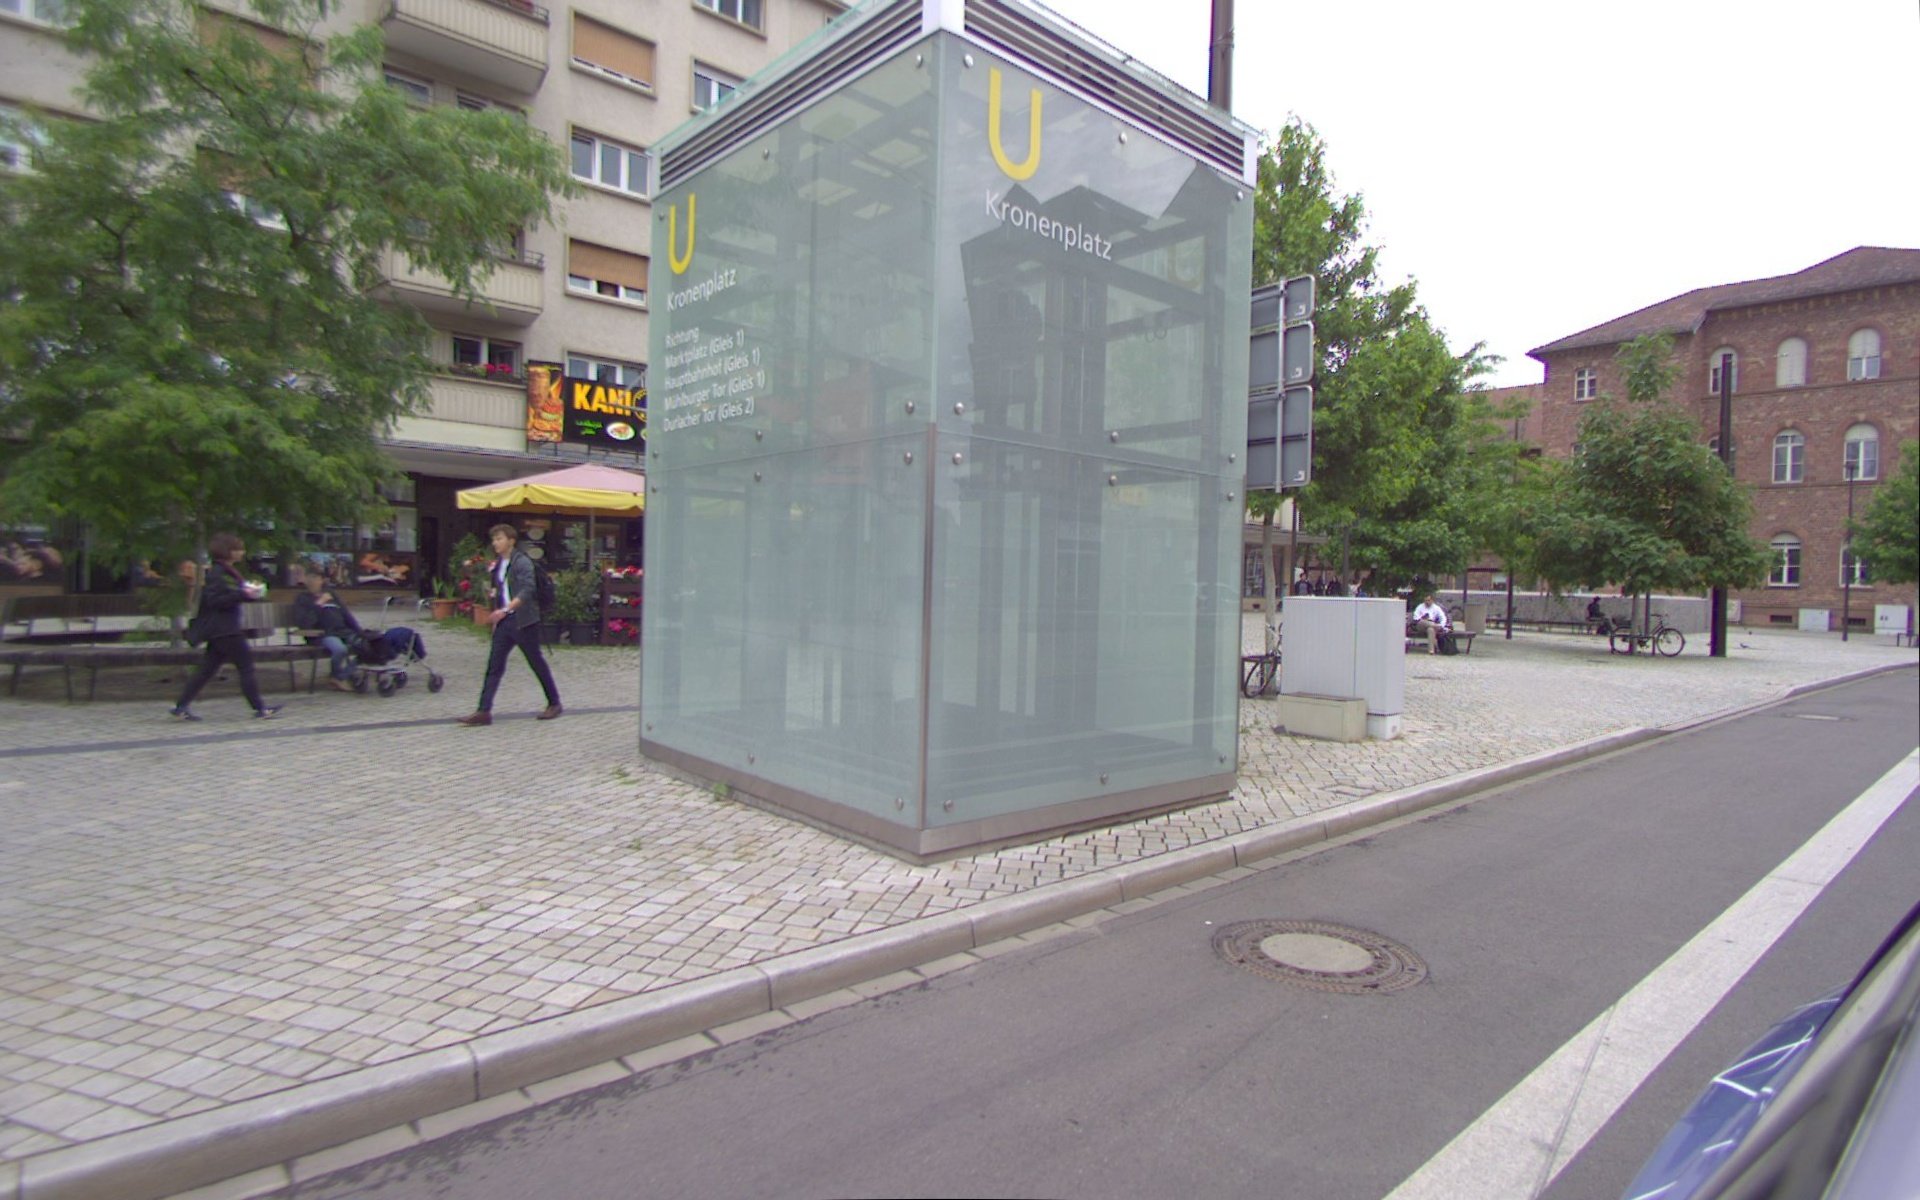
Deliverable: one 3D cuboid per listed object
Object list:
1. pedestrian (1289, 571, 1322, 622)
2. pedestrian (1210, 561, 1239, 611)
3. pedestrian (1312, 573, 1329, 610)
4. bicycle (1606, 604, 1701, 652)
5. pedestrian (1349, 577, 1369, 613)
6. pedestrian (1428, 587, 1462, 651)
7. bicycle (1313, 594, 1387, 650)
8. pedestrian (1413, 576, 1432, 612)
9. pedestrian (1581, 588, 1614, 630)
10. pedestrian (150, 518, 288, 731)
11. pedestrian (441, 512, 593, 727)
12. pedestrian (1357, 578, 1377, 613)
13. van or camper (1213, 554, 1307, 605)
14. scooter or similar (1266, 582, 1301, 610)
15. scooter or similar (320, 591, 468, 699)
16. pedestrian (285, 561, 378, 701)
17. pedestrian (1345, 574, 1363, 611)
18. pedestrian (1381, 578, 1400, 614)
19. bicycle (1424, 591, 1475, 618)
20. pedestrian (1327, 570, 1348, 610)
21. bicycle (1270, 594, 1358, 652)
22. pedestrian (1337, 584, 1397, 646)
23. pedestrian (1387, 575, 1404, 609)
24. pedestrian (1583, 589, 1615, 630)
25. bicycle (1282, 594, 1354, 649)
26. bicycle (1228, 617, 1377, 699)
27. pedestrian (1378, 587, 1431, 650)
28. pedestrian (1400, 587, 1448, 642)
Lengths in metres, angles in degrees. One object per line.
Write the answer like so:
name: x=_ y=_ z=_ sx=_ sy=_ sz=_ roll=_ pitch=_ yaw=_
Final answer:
pedestrian: x=12.600 y=-0.126 z=36.893 sx=0.769 sy=1.794 sz=1.052 roll=3 pitch=2 yaw=38
pedestrian: x=10.468 y=-0.547 z=40.042 sx=0.767 sy=1.925 sz=1.055 roll=3 pitch=2 yaw=31
pedestrian: x=16.244 y=-0.377 z=45.600 sx=0.583 sy=1.606 sz=0.640 roll=3 pitch=0 yaw=16
bicycle: x=17.715 y=0.700 z=25.909 sx=0.632 sy=1.137 sz=1.922 roll=1 pitch=0 yaw=-30
pedestrian: x=19.506 y=-0.238 z=49.465 sx=0.579 sy=1.691 sz=0.644 roll=3 pitch=0 yaw=-26
pedestrian: x=10.695 y=0.412 z=22.328 sx=0.624 sy=1.383 sz=0.680 roll=1 pitch=0 yaw=30
bicycle: x=8.631 y=0.480 z=22.440 sx=0.468 sy=1.124 sz=1.609 roll=1 pitch=2 yaw=-26
pedestrian: x=22.621 y=-0.300 z=49.526 sx=0.579 sy=1.691 sz=0.515 roll=3 pitch=0 yaw=-21
pedestrian: x=23.654 y=0.341 z=37.576 sx=0.770 sy=1.473 sz=0.764 roll=4 pitch=3 yaw=19
pedestrian: x=-6.301 y=0.175 z=8.607 sx=0.625 sy=1.705 sz=0.856 roll=4 pitch=3 yaw=45
pedestrian: x=-4.035 y=0.145 z=9.224 sx=1.060 sy=1.824 sz=0.715 roll=0 pitch=4 yaw=-42
pedestrian: x=20.131 y=-0.246 z=50.054 sx=0.579 sy=1.691 sz=0.645 roll=3 pitch=0 yaw=-21
van or camper: x=16.980 y=-1.094 z=57.050 sx=6.446 sy=2.754 sz=1.997 roll=0 pitch=0 yaw=-42
scooter or similar: x=14.821 y=-0.201 z=46.372 sx=1.406 sy=1.218 sz=0.503 roll=2 pitch=2 yaw=-17
scooter or similar: x=-5.845 y=0.427 z=10.552 sx=0.711 sy=0.960 sz=1.594 roll=2 pitch=2 yaw=-3
pedestrian: x=-6.392 y=0.282 z=10.276 sx=0.719 sy=1.313 sz=1.048 roll=1 pitch=3 yaw=-36
pedestrian: x=17.486 y=-0.336 z=44.936 sx=0.583 sy=1.606 sz=0.640 roll=3 pitch=0 yaw=16
pedestrian: x=20.419 y=-0.189 z=47.994 sx=0.579 sy=1.691 sz=0.515 roll=3 pitch=0 yaw=-20
bicycle: x=22.260 y=0.204 z=46.079 sx=0.462 sy=1.077 sz=2.028 roll=1 pitch=3 yaw=-42
pedestrian: x=16.901 y=-0.448 z=45.320 sx=0.630 sy=1.790 sz=0.592 roll=3 pitch=0 yaw=-5
bicycle: x=7.700 y=0.487 z=22.104 sx=0.467 sy=1.124 sz=2.045 roll=1 pitch=2 yaw=-25
pedestrian: x=9.317 y=0.344 z=23.181 sx=1.253 sy=1.383 sz=0.545 roll=1 pitch=0 yaw=-24
pedestrian: x=22.779 y=-0.422 z=52.932 sx=0.661 sy=1.780 sz=0.622 roll=1 pitch=0 yaw=40
pedestrian: x=24.158 y=0.338 z=38.252 sx=0.770 sy=1.473 sz=0.764 roll=4 pitch=3 yaw=19
bicycle: x=7.989 y=0.459 z=22.648 sx=0.468 sy=1.124 sz=1.609 roll=1 pitch=2 yaw=-26
bicycle: x=4.456 y=0.750 z=13.199 sx=1.718 sy=0.990 sz=0.661 roll=1 pitch=1 yaw=-12
pedestrian: x=9.936 y=0.397 z=22.642 sx=0.900 sy=1.383 sz=0.631 roll=1 pitch=0 yaw=-24
pedestrian: x=11.909 y=0.368 z=25.979 sx=1.385 sy=1.383 sz=0.629 roll=1 pitch=0 yaw=-43
